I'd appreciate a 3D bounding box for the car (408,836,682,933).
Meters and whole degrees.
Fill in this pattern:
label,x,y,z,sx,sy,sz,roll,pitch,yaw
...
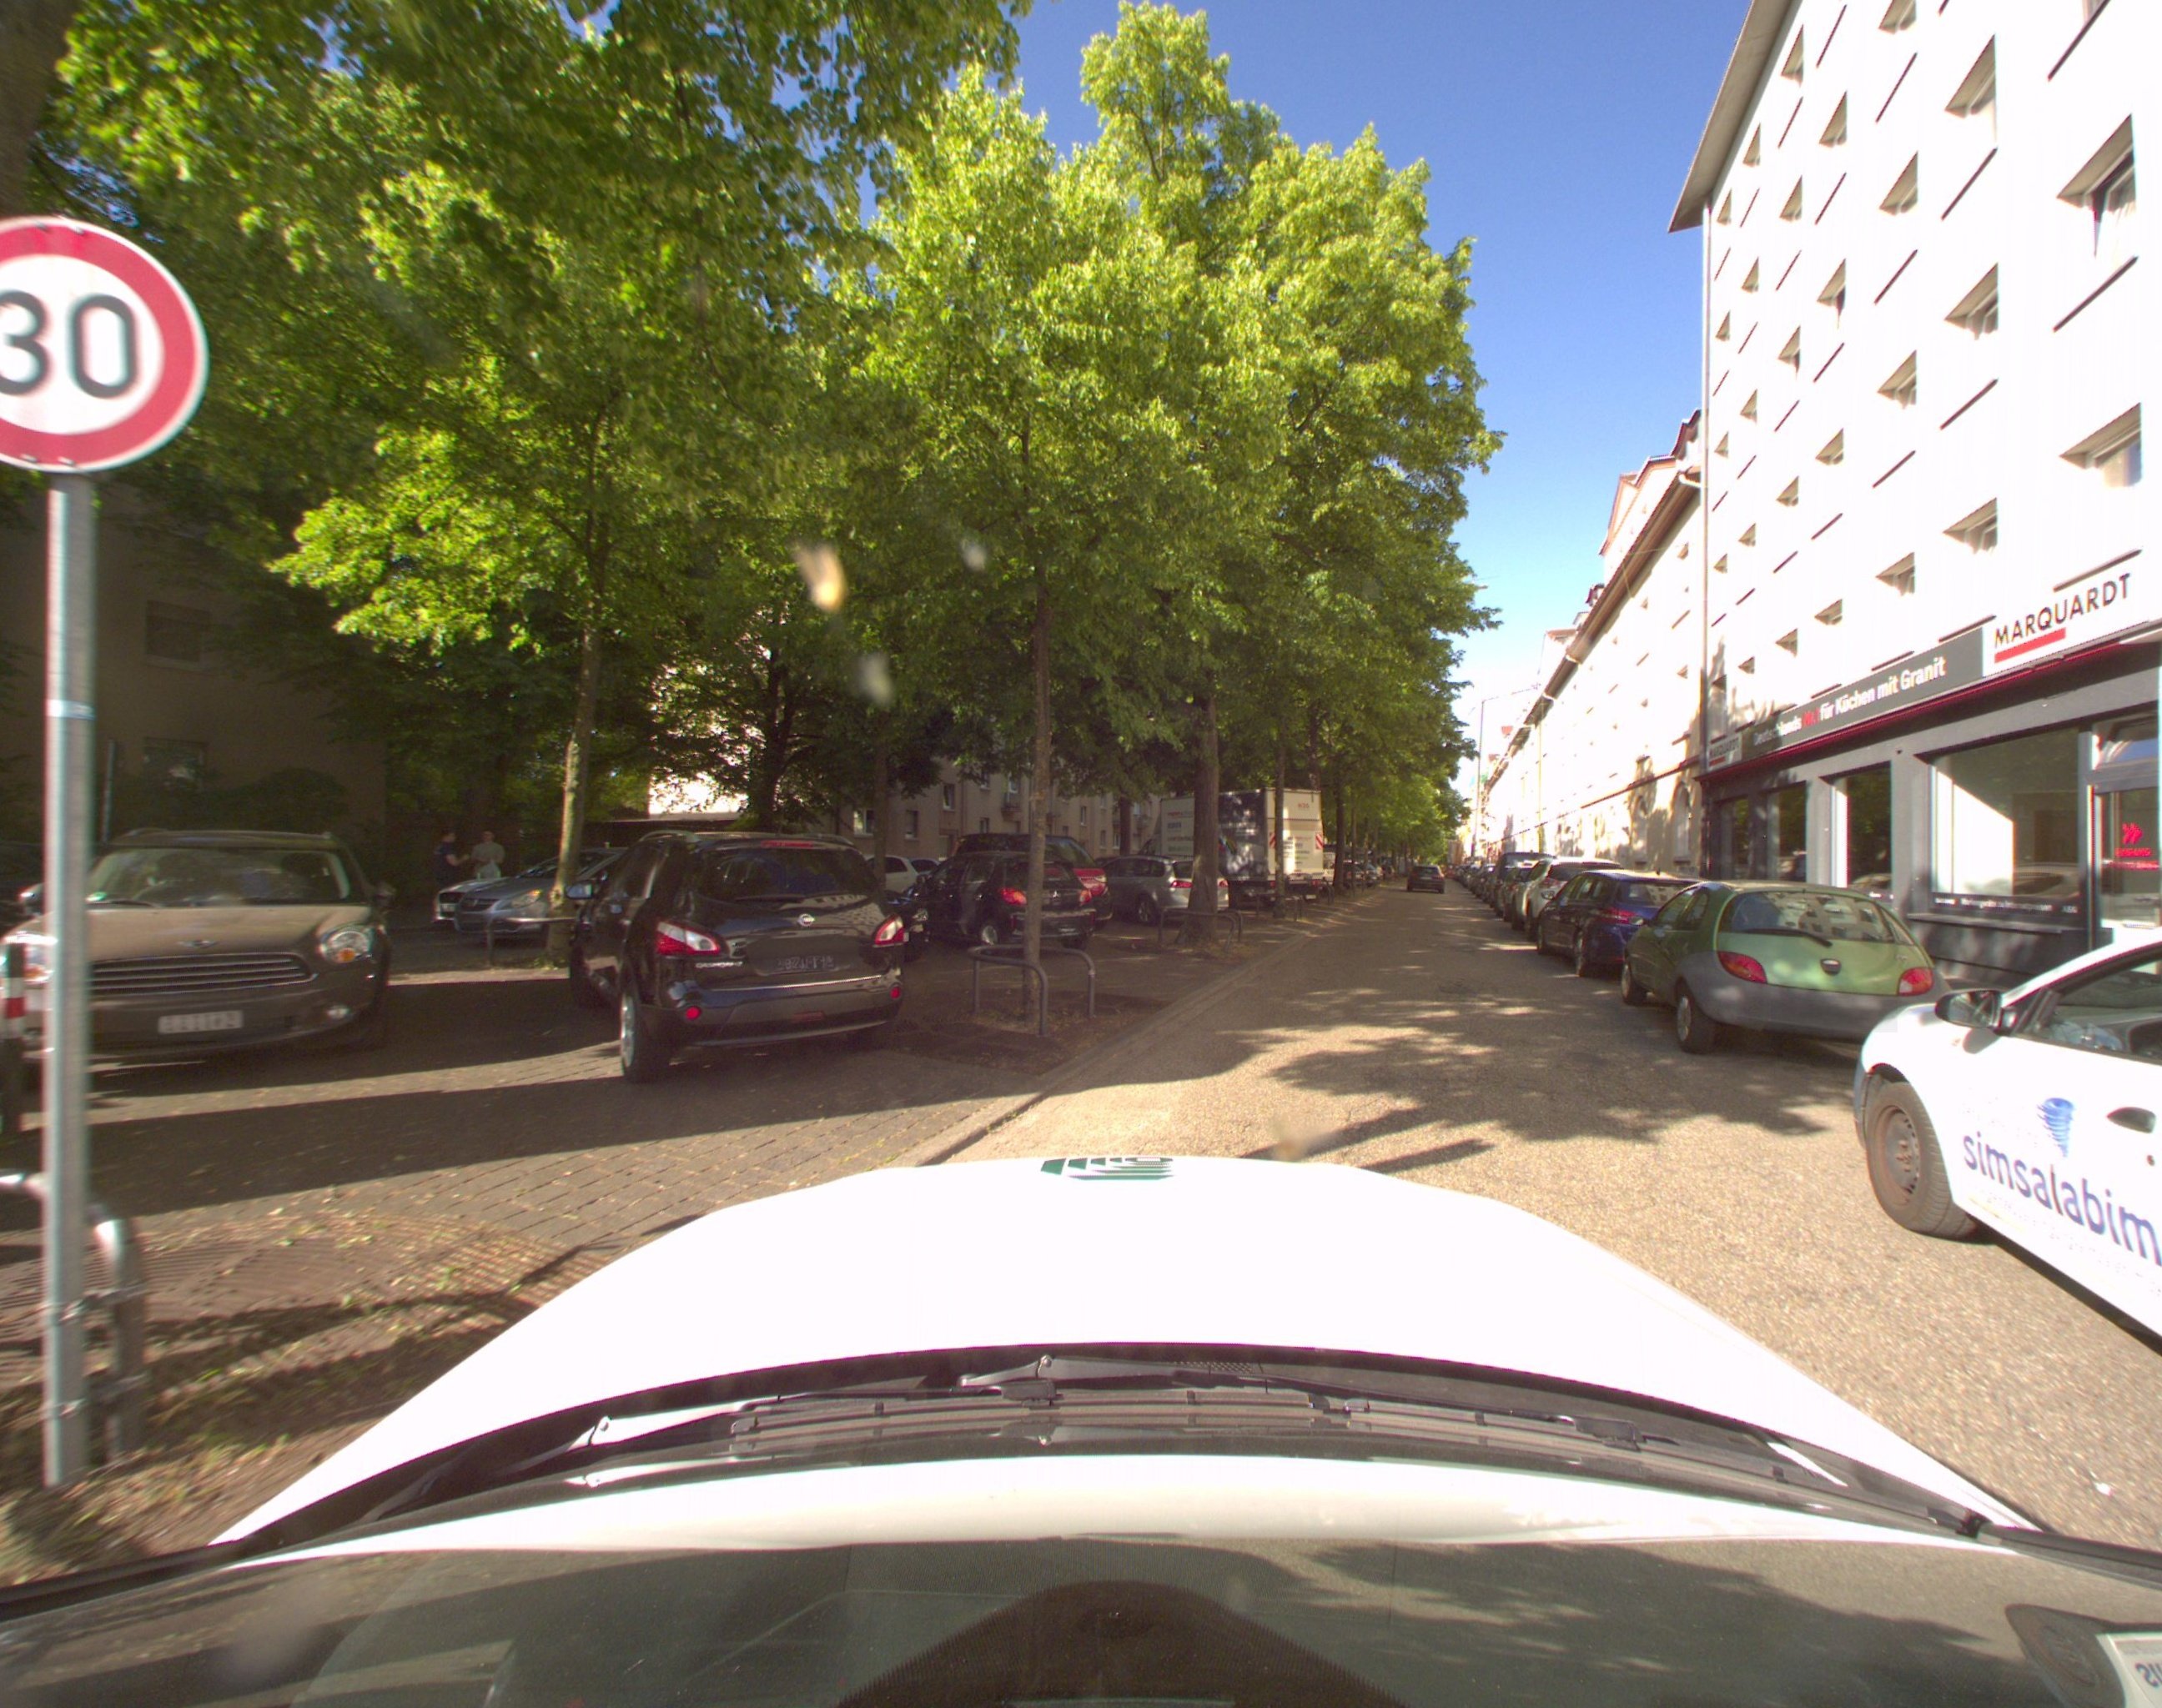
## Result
label,x,y,z,sx,sy,sz,roll,pitch,yaw
car,-10.346,0.533,16.153,1.739,1.640,4.269,1,0,22

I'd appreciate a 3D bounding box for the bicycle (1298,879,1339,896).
label,x,y,z,sx,sy,sz,roll,pitch,yaw
bicycle,9.038,1.272,31.087,0.411,0.558,1.597,1,0,-35

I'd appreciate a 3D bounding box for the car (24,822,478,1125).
label,x,y,z,sx,sy,sz,roll,pitch,yaw
car,-6.323,0.644,6.408,3.950,1.610,1.934,0,-1,45

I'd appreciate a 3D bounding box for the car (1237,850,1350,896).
label,x,y,z,sx,sy,sz,roll,pitch,yaw
car,9.470,0.801,36.471,2.092,1.865,4.470,2,0,-41

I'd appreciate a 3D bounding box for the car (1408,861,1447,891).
label,x,y,z,sx,sy,sz,roll,pitch,yaw
car,18.089,1.108,42.545,1.781,1.504,3.605,0,-1,23

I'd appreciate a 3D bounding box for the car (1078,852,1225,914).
label,x,y,z,sx,sy,sz,roll,pitch,yaw
car,1.824,0.726,22.528,1.820,1.507,4.299,1,0,-32

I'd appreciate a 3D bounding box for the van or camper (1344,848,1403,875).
label,x,y,z,sx,sy,sz,roll,pitch,yaw
van or camper,36.507,0.968,101.778,2.507,3.241,6.602,1,-1,-38

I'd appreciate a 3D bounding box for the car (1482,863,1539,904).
label,x,y,z,sx,sy,sz,roll,pitch,yaw
car,16.848,1.113,32.091,1.607,1.498,3.614,1,0,21

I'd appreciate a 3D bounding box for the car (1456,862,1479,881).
label,x,y,z,sx,sy,sz,roll,pitch,yaw
car,36.633,1.635,77.213,1.800,1.674,4.699,1,0,24

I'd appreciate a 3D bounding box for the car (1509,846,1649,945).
label,x,y,z,sx,sy,sz,roll,pitch,yaw
car,10.102,0.755,16.867,1.747,1.753,4.533,1,0,22

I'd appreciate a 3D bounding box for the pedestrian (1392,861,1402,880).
label,x,y,z,sx,sy,sz,roll,pitch,yaw
pedestrian,25.358,1.317,65.297,0.522,1.456,0.609,1,-1,-43

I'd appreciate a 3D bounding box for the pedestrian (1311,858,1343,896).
label,x,y,z,sx,sy,sz,roll,pitch,yaw
pedestrian,9.235,0.860,30.561,0.932,1.397,0.745,1,-1,-35

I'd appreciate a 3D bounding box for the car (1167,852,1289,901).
label,x,y,z,sx,sy,sz,roll,pitch,yaw
car,4.989,0.728,28.005,1.856,1.503,3.957,2,0,-35

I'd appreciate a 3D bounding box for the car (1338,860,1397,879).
label,x,y,z,sx,sy,sz,roll,pitch,yaw
car,23.500,1.251,66.939,1.683,1.424,4.279,1,0,-40

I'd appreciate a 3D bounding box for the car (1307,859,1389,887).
label,x,y,z,sx,sy,sz,roll,pitch,yaw
car,15.367,1.073,47.105,1.723,1.462,4.377,2,-1,-34

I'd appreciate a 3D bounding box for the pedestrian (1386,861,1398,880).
label,x,y,z,sx,sy,sz,roll,pitch,yaw
pedestrian,24.800,1.325,64.968,0.599,1.456,0.703,1,-1,-43

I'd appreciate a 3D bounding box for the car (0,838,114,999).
label,x,y,z,sx,sy,sz,roll,pitch,yaw
car,-11.612,0.579,6.695,1.886,1.518,4.324,1,0,24

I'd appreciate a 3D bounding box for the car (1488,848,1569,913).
label,x,y,z,sx,sy,sz,roll,pitch,yaw
car,14.645,0.811,26.898,1.931,1.901,4.872,1,0,24

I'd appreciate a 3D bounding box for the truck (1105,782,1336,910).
label,x,y,z,sx,sy,sz,roll,pitch,yaw
truck,3.896,-0.191,24.597,2.557,3.294,7.247,1,-1,-35

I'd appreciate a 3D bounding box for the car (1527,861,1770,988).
label,x,y,z,sx,sy,sz,roll,pitch,yaw
car,7.963,0.850,11.947,1.787,1.463,4.462,1,0,19

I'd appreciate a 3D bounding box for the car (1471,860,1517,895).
label,x,y,z,sx,sy,sz,roll,pitch,yaw
car,21.435,1.174,42.359,1.708,1.686,4.179,1,0,21

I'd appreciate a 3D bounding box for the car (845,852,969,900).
label,x,y,z,sx,sy,sz,roll,pitch,yaw
car,-5.621,0.677,26.875,1.748,1.435,4.368,1,0,24

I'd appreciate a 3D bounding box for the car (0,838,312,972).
label,x,y,z,sx,sy,sz,roll,pitch,yaw
car,-12.712,0.573,10.283,1.738,1.511,3.971,1,0,24

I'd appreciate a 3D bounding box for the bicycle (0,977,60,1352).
label,x,y,z,sx,sy,sz,roll,pitch,yaw
bicycle,-3.496,0.916,1.755,0.350,1.072,1.598,1,-1,13

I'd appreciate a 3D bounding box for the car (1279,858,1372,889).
label,x,y,z,sx,sy,sz,roll,pitch,yaw
car,12.558,0.984,42.078,1.795,1.455,4.442,1,-1,-34

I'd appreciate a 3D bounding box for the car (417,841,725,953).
label,x,y,z,sx,sy,sz,roll,pitch,yaw
car,-7.855,0.591,13.039,1.740,1.486,3.966,1,0,17

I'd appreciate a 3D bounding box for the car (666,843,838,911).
label,x,y,z,sx,sy,sz,roll,pitch,yaw
car,-8.304,0.549,20.949,1.738,1.569,3.971,1,0,24

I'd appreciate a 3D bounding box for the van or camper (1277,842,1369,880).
label,x,y,z,sx,sy,sz,roll,pitch,yaw
van or camper,19.755,0.582,66.736,2.325,2.930,7.165,1,-1,-39

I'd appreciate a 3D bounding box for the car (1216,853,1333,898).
label,x,y,z,sx,sy,sz,roll,pitch,yaw
car,7.062,0.753,30.064,1.740,1.506,4.064,2,0,-35

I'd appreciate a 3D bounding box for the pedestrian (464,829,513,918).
label,x,y,z,sx,sy,sz,roll,pitch,yaw
pedestrian,-11.890,0.391,16.369,0.745,1.735,0.534,1,-1,-34

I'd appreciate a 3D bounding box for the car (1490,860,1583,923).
label,x,y,z,sx,sy,sz,roll,pitch,yaw
car,12.298,0.940,22.213,1.746,1.500,4.261,1,0,23

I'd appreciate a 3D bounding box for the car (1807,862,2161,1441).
label,x,y,z,sx,sy,sz,roll,pitch,yaw
car,3.708,0.779,2.044,1.703,1.497,4.045,0,0,25

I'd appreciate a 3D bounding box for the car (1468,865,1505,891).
label,x,y,z,sx,sy,sz,roll,pitch,yaw
car,23.964,1.382,48.223,1.707,1.432,4.181,1,0,23

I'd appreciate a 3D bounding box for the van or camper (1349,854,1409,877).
label,x,y,z,sx,sy,sz,roll,pitch,yaw
van or camper,31.083,1.201,85.099,2.232,2.275,5.449,1,-1,-42

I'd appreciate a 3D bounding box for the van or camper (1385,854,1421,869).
label,x,y,z,sx,sy,sz,roll,pitch,yaw
van or camper,55.067,1.315,139.399,2.303,2.475,5.293,1,-1,-34

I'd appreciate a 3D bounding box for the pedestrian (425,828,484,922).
label,x,y,z,sx,sy,sz,roll,pitch,yaw
pedestrian,-11.856,0.386,15.410,0.734,1.735,0.542,0,-1,20

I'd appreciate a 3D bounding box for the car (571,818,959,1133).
label,x,y,z,sx,sy,sz,roll,pitch,yaw
car,-2.848,0.586,6.616,1.845,1.671,4.290,1,1,-37

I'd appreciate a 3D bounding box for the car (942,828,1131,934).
label,x,y,z,sx,sy,sz,roll,pitch,yaw
car,-1.070,0.486,16.785,1.943,1.873,4.457,1,0,-32

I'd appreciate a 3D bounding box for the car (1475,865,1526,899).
label,x,y,z,sx,sy,sz,roll,pitch,yaw
car,18.850,1.221,36.737,1.536,1.394,3.880,1,0,20

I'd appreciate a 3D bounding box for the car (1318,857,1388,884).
label,x,y,z,sx,sy,sz,roll,pitch,yaw
car,17.720,1.063,53.209,1.767,1.679,4.100,1,0,-37

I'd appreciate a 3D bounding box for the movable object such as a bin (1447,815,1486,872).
label,x,y,z,sx,sy,sz,roll,pitch,yaw
movable object such as a bin,46.468,-1.228,98.257,2.377,6.760,3.453,2,-1,-34

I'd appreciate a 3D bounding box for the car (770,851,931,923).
label,x,y,z,sx,sy,sz,roll,pitch,yaw
car,-5.283,0.703,19.230,1.740,1.486,3.966,1,0,17

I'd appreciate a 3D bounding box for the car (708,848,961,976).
label,x,y,z,sx,sy,sz,roll,pitch,yaw
car,-3.527,0.657,11.219,1.831,1.422,3.902,1,0,-42

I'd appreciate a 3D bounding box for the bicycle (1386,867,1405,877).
label,x,y,z,sx,sy,sz,roll,pitch,yaw
bicycle,31.301,1.802,80.955,1.717,1.006,0.510,1,-1,-7

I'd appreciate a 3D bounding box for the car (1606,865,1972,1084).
label,x,y,z,sx,sy,sz,roll,pitch,yaw
car,6.153,0.857,7.591,1.582,1.463,3.693,1,0,24

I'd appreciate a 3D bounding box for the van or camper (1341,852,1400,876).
label,x,y,z,sx,sy,sz,roll,pitch,yaw
van or camper,31.734,1.084,89.479,2.265,2.637,5.821,1,-1,-37

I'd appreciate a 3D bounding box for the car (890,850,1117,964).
label,x,y,z,sx,sy,sz,roll,pitch,yaw
car,-1.334,0.694,12.662,1.769,1.481,3.780,1,0,-38

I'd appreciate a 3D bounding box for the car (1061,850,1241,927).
label,x,y,z,sx,sy,sz,roll,pitch,yaw
car,1.437,0.695,18.374,1.820,1.507,4.299,1,0,-32
